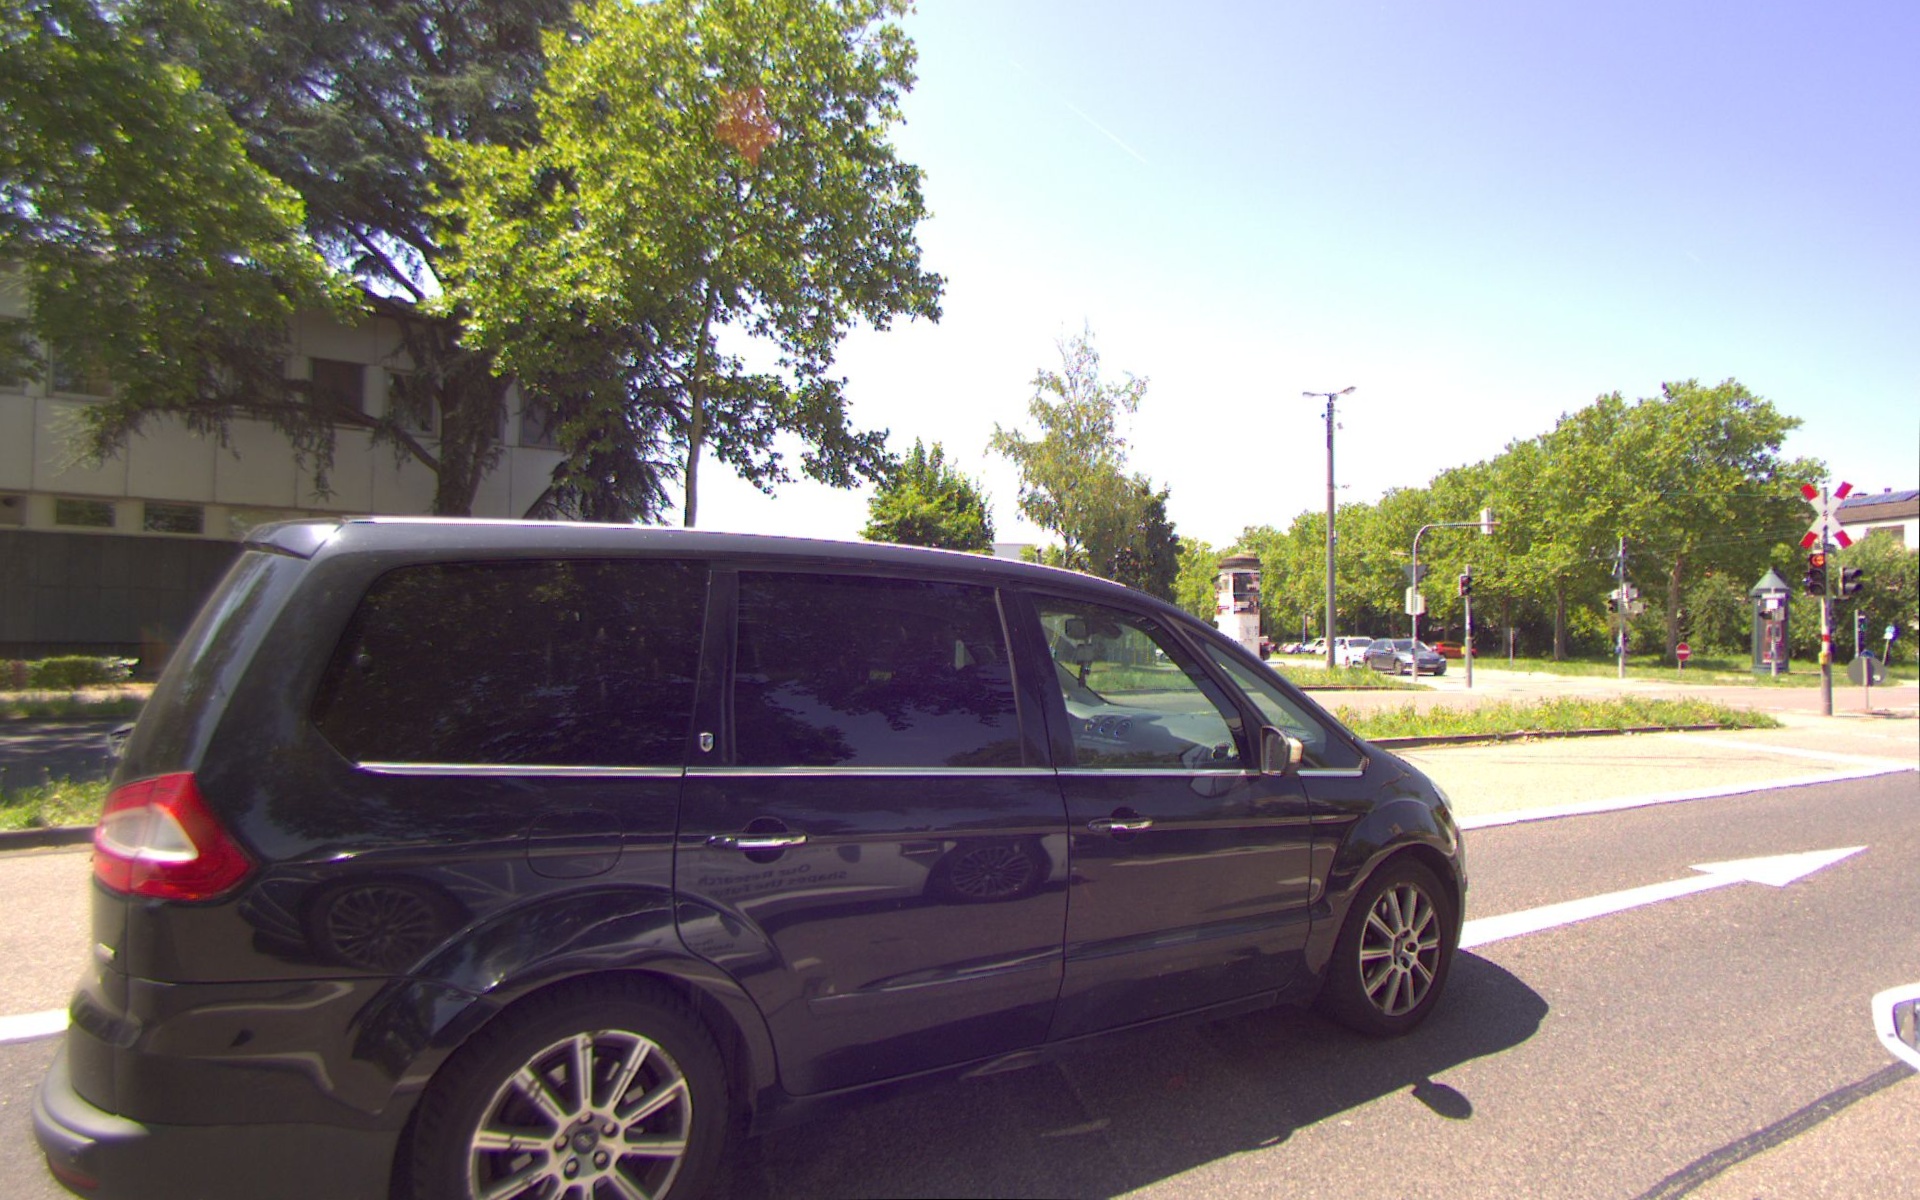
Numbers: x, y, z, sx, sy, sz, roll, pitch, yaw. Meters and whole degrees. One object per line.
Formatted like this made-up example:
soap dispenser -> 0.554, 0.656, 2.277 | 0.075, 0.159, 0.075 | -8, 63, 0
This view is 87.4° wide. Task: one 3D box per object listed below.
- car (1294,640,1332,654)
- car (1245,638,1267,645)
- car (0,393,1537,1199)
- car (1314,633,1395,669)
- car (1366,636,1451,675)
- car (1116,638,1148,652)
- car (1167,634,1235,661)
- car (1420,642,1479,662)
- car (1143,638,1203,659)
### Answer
car -> 36.993, 4.940, 105.231 | 3.482, 1.415, 1.499 | 1, -2, -4
car -> 39.461, 5.531, 133.843 | 2.668, 1.007, 1.009 | 1, -2, -3
car -> -0.136, 0.617, 3.589 | 4.596, 1.779, 1.844 | 2, -1, -31
car -> 18.857, 2.393, 48.240 | 2.173, 1.626, 4.462 | 1, -2, 0
car -> 18.397, 2.240, 41.383 | 1.729, 1.476, 3.993 | 1, -2, 0
car -> 14.907, 3.917, 87.102 | 2.851, 1.221, 1.175 | 2, -2, -37
car -> 15.513, 3.060, 64.515 | 4.141, 1.672, 1.771 | 2, -2, -28
car -> 39.216, 4.169, 80.457 | 4.058, 1.415, 1.458 | 2, 0, -4
car -> 15.554, 3.547, 73.275 | 4.007, 1.442, 1.935 | 2, -2, -26
